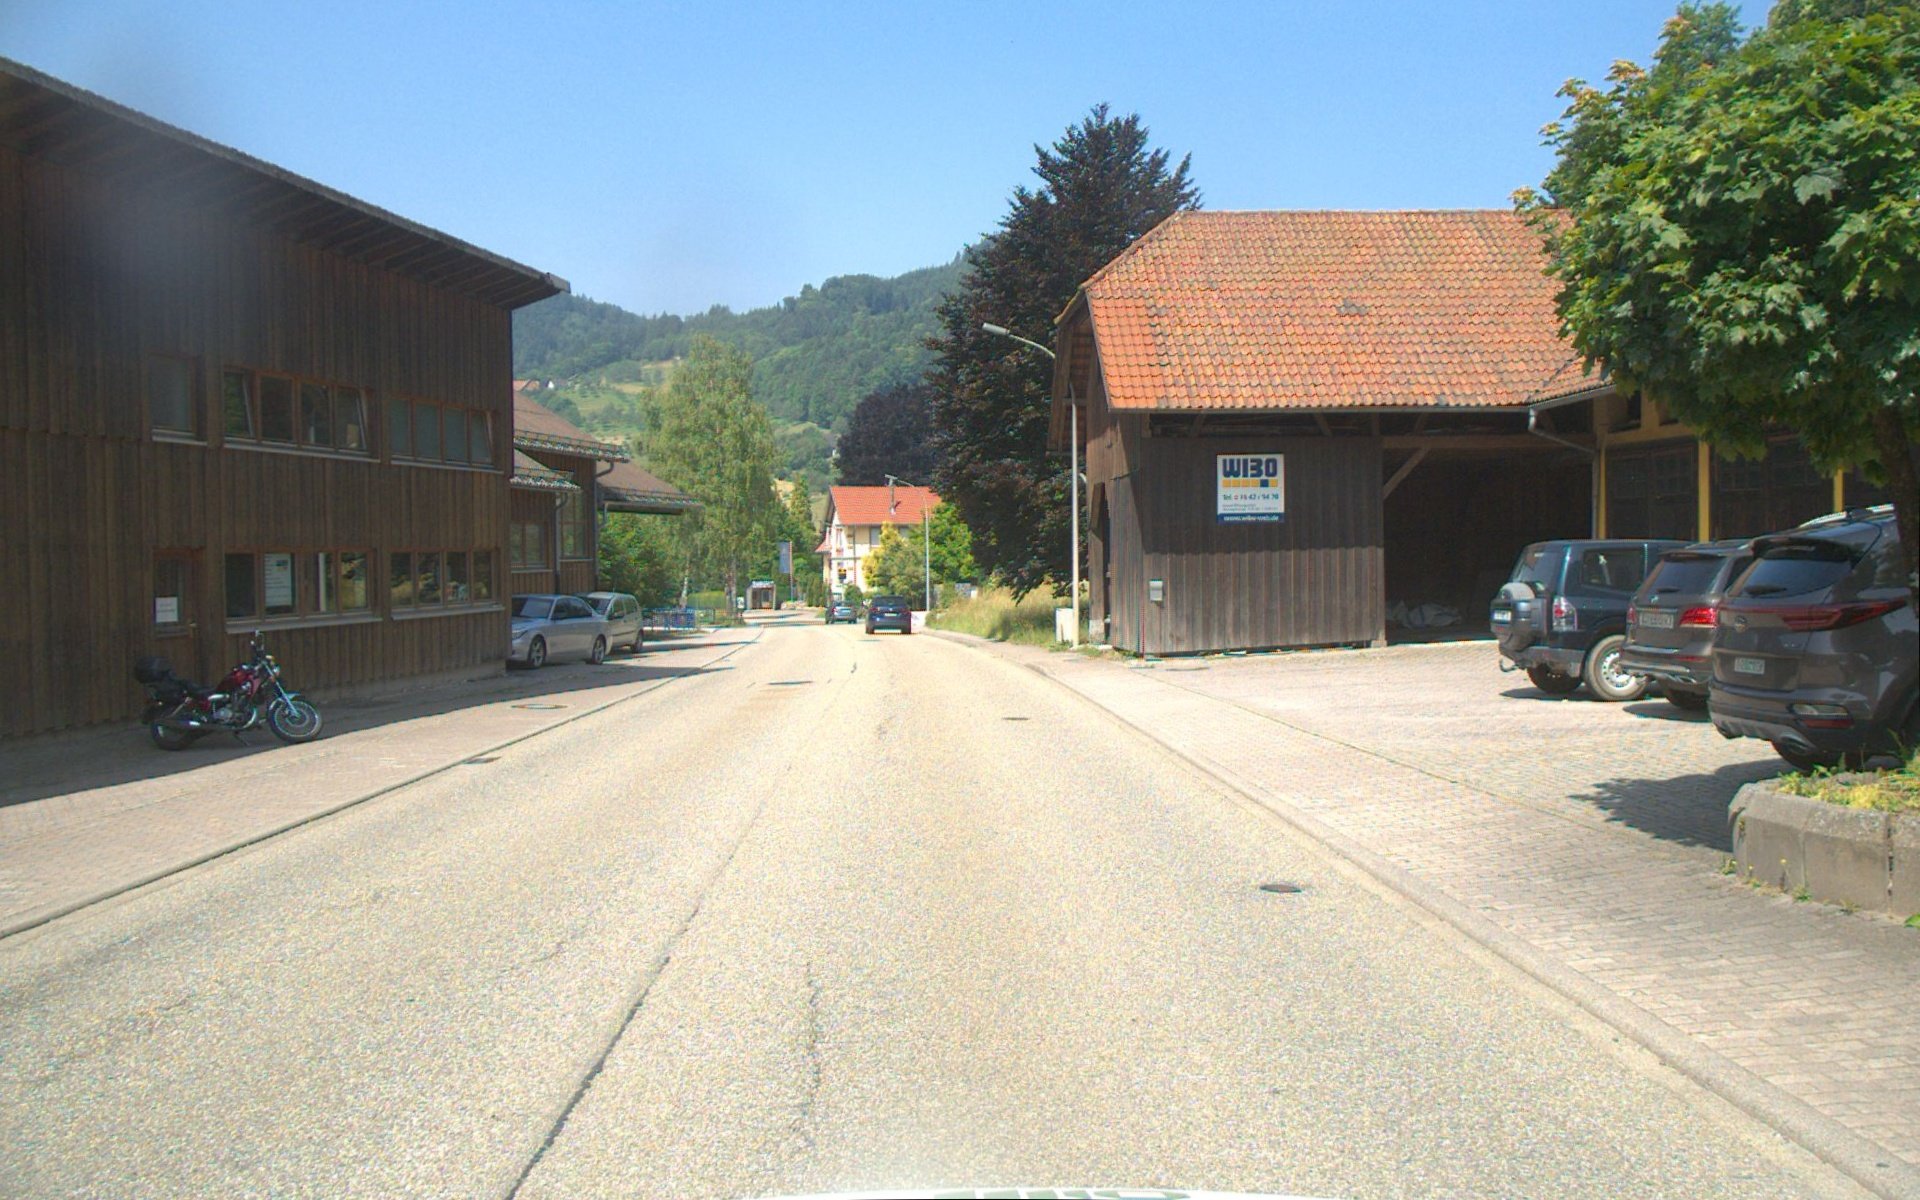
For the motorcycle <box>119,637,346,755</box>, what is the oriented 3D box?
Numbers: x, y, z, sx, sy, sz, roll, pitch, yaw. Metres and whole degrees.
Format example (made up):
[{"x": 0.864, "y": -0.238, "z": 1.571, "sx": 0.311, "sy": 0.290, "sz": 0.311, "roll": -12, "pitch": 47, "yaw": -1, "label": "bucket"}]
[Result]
[{"x": -8.500, "y": 1.116, "z": 19.352, "sx": 2.357, "sy": 1.286, "sz": 0.744, "roll": -2, "pitch": 0, "yaw": 8, "label": "motorcycle"}]

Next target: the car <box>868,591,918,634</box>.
[{"x": -2.851, "y": 0.525, "z": 70.044, "sx": 1.882, "sy": 1.728, "sz": 3.784, "roll": -2, "pitch": 0, "yaw": -5, "label": "car"}]

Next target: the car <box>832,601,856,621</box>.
[{"x": -7.535, "y": 0.720, "z": 107.346, "sx": 1.448, "sy": 1.230, "sz": 2.381, "roll": -2, "pitch": 0, "yaw": -6, "label": "car"}]

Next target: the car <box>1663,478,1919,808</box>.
[{"x": 6.644, "y": 0.047, "z": 9.731, "sx": 4.135, "sy": 1.716, "sz": 1.777, "roll": -6, "pitch": 0, "yaw": 2, "label": "car"}]

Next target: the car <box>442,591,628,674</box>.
[{"x": -8.515, "y": 0.600, "z": 33.646, "sx": 1.692, "sy": 1.479, "sz": 4.809, "roll": 0, "pitch": 1, "yaw": 12, "label": "car"}]

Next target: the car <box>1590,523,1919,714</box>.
[{"x": 9.181, "y": 0.141, "z": 17.400, "sx": 4.336, "sy": 1.790, "sz": 1.949, "roll": -2, "pitch": 0, "yaw": -8, "label": "car"}]

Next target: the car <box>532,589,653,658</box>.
[{"x": -9.331, "y": 0.557, "z": 42.257, "sx": 1.547, "sy": 1.597, "sz": 4.026, "roll": 2, "pitch": 1, "yaw": 10, "label": "car"}]

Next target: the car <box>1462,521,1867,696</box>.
[{"x": 8.437, "y": 0.085, "z": 20.024, "sx": 4.046, "sy": 1.864, "sz": 1.952, "roll": -2, "pitch": 0, "yaw": -5, "label": "car"}]
